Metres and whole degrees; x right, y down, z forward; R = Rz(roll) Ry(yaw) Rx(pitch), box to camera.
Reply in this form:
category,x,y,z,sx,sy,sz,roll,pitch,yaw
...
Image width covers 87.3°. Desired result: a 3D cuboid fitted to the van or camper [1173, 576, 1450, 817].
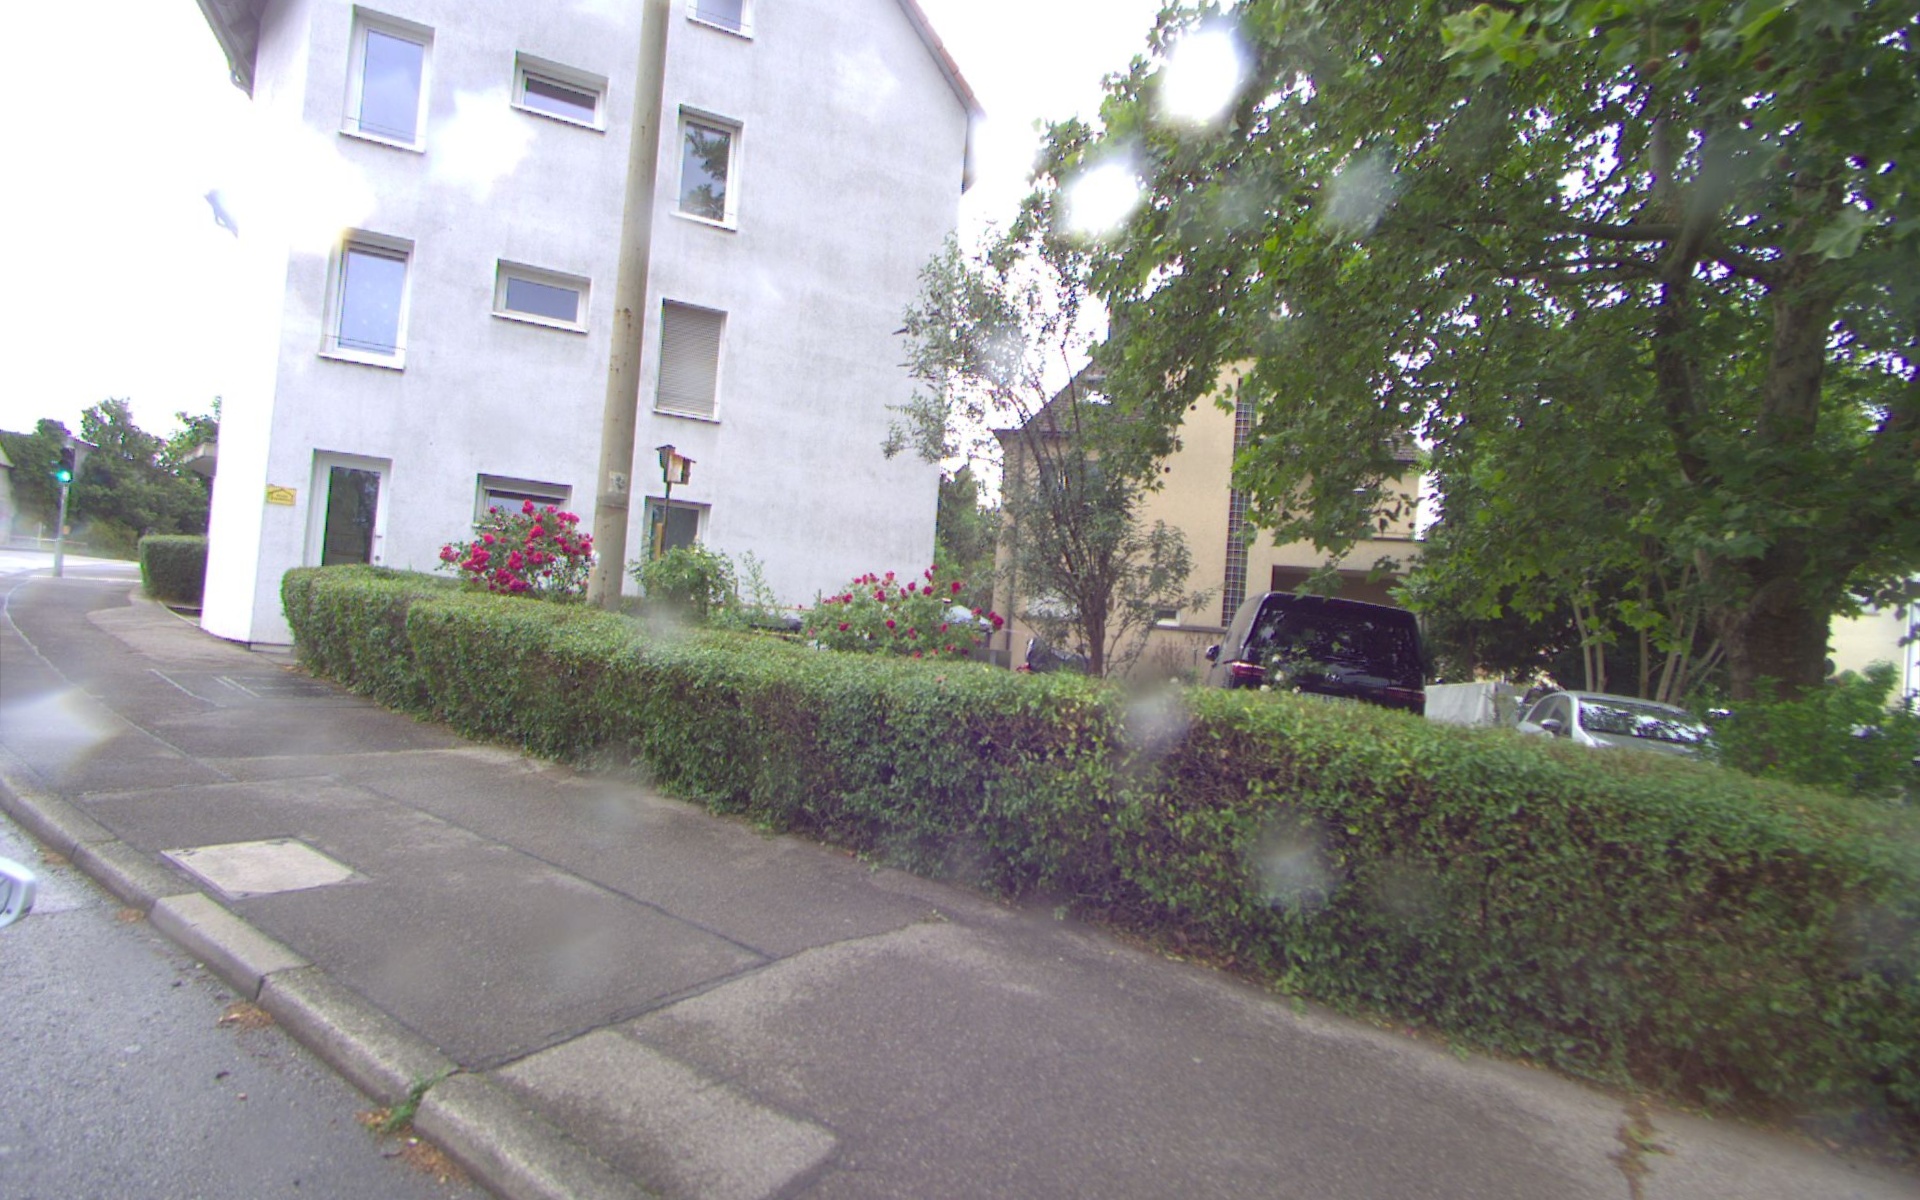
category,x,y,z,sx,sy,sz,roll,pitch,yaw
van or camper,3.589,0.964,11.171,1.962,1.926,4.333,6,-2,9

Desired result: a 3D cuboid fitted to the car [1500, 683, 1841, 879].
category,x,y,z,sx,sy,sz,roll,pitch,yaw
car,7.536,1.799,11.202,1.963,1.481,4.003,6,-2,20
